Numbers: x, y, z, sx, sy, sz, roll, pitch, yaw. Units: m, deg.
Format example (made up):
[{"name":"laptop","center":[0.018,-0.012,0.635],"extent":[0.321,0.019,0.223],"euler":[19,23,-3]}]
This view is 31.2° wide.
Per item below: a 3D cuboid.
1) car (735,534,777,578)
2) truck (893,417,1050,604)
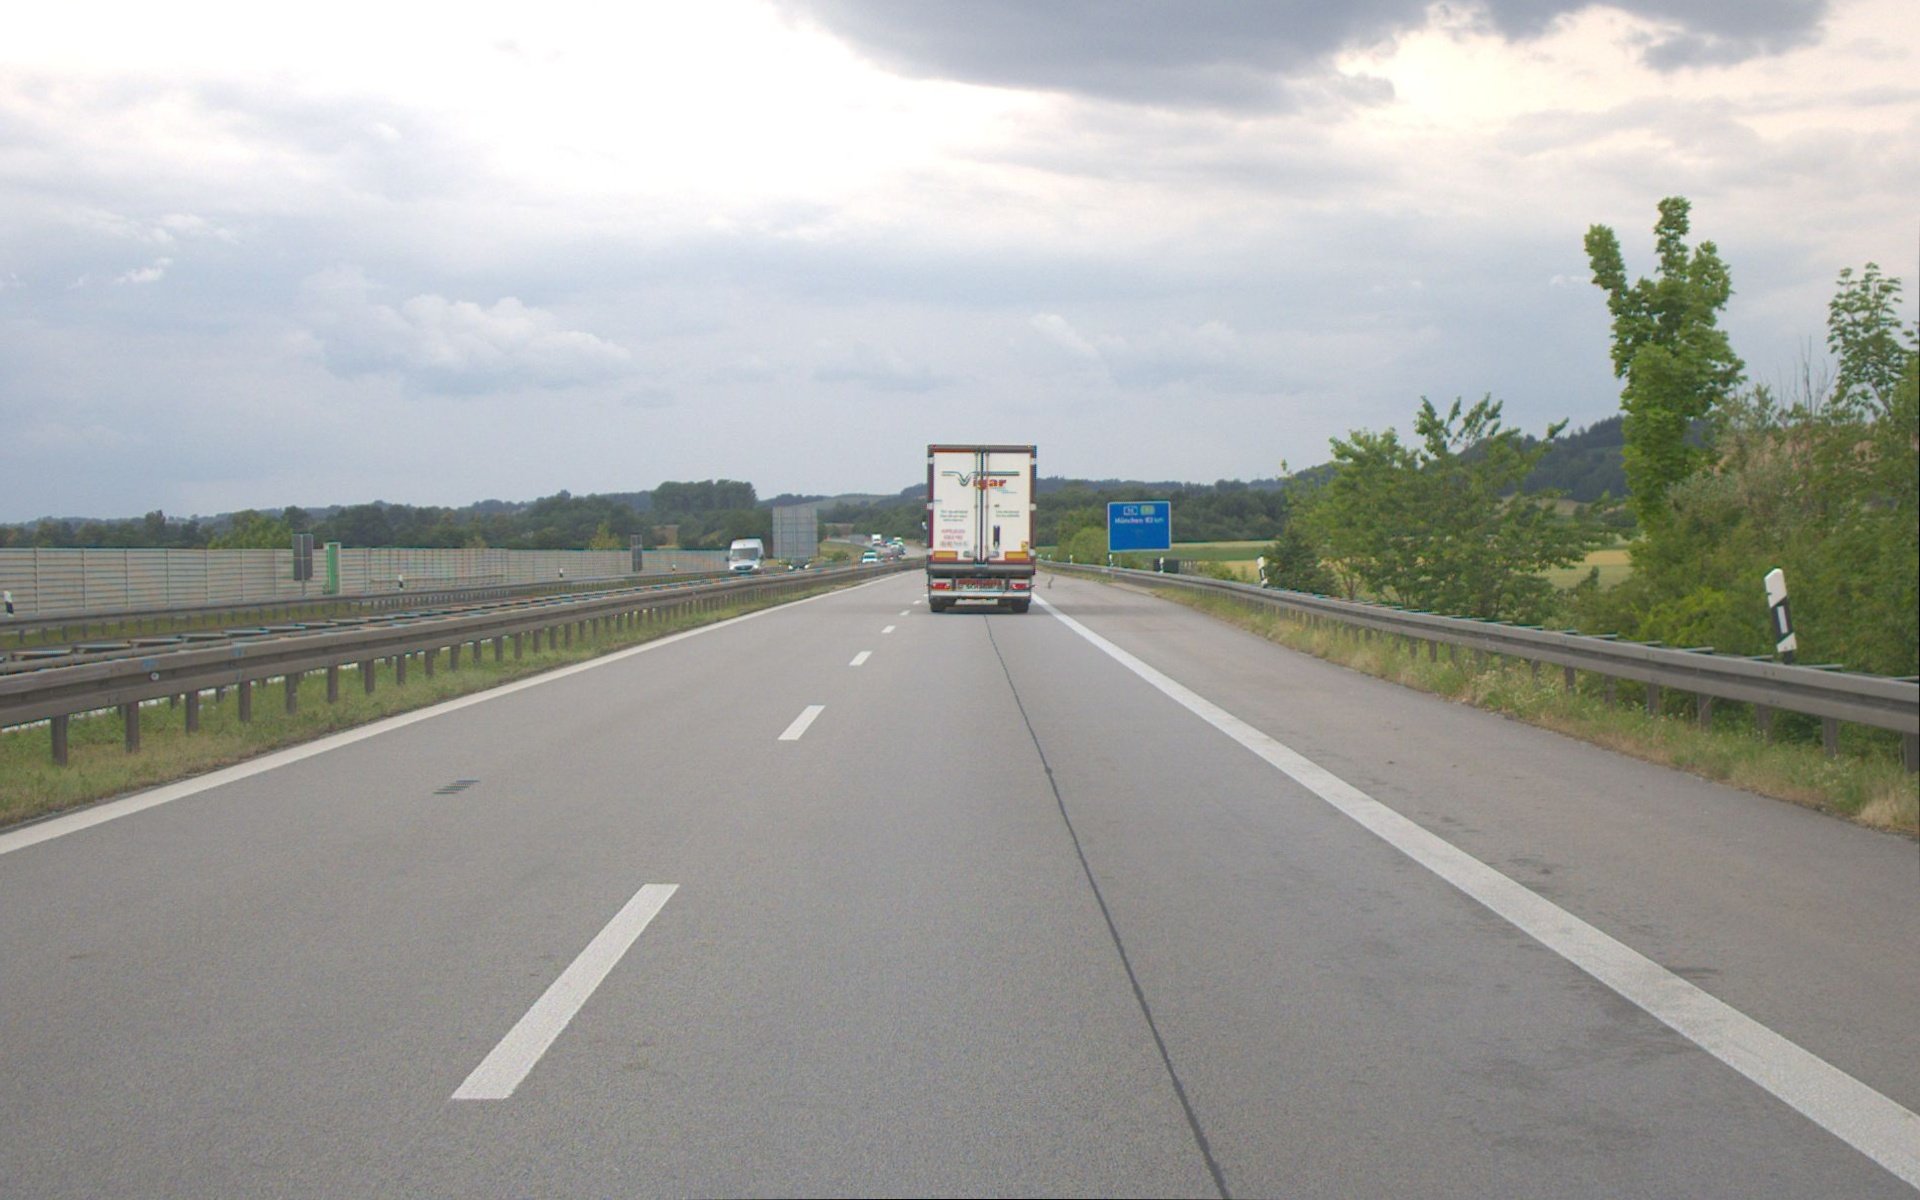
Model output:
[{"name":"car","center":[-12.563,-2.699,212.405],"extent":[2.070,2.594,6.289],"euler":[-4,1,0]},{"name":"truck","center":[0.170,-2.250,89.472],"extent":[3.672,4.397,16.342],"euler":[0,1,-1]}]
